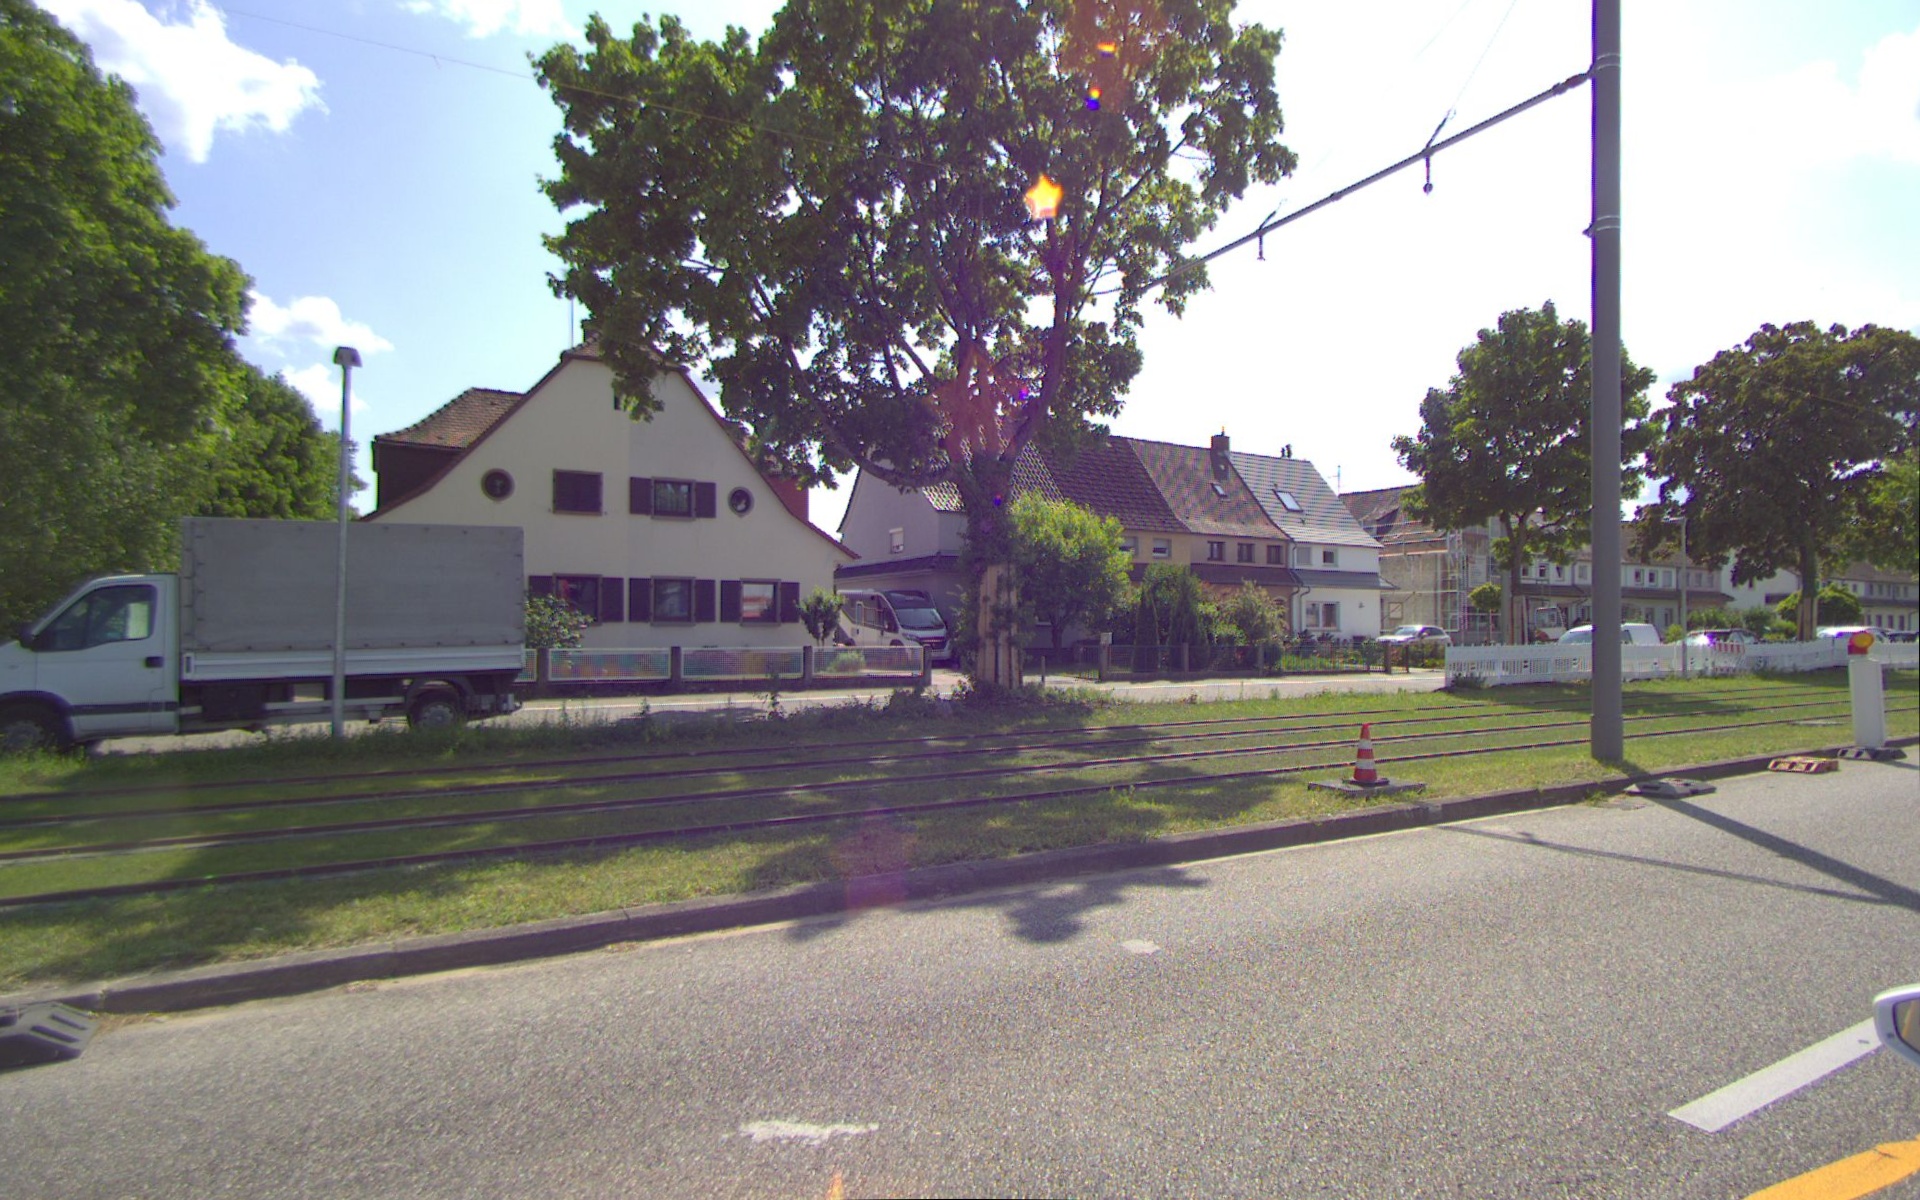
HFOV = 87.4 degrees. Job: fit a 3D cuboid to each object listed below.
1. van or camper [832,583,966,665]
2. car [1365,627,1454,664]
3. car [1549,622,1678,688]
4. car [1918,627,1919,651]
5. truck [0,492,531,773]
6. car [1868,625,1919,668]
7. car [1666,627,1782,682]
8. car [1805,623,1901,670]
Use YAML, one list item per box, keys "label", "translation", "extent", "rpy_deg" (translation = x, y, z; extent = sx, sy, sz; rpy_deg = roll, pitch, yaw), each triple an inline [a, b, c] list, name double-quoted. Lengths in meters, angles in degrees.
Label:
- label: "van or camper"
  translation: [-2.342, 0.902, 36.650]
  extent: [2.224, 2.745, 5.963]
  rpy_deg: [1, -2, -33]
- label: "car"
  translation: [19.897, 1.989, 44.478]
  extent: [3.814, 1.614, 1.691]
  rpy_deg: [1, -2, -30]
- label: "car"
  translation: [19.509, 1.601, 29.959]
  extent: [3.814, 1.841, 1.691]
  rpy_deg: [1, -2, -30]
- label: "car"
  translation: [72.144, 2.842, 73.666]
  extent: [4.013, 1.762, 1.691]
  rpy_deg: [1, -2, -30]
- label: "truck"
  translation: [-8.790, 0.409, 12.933]
  extent: [5.805, 3.027, 1.994]
  rpy_deg: [1, -2, -30]
- label: "car"
  translation: [40.397, 1.957, 42.599]
  extent: [3.814, 1.762, 1.691]
  rpy_deg: [1, -2, -30]
- label: "car"
  translation: [25.754, 1.796, 33.826]
  extent: [4.006, 1.762, 1.691]
  rpy_deg: [1, -2, -30]
- label: "car"
  translation: [34.999, 1.798, 39.365]
  extent: [3.814, 1.762, 1.691]
  rpy_deg: [1, -2, -30]
